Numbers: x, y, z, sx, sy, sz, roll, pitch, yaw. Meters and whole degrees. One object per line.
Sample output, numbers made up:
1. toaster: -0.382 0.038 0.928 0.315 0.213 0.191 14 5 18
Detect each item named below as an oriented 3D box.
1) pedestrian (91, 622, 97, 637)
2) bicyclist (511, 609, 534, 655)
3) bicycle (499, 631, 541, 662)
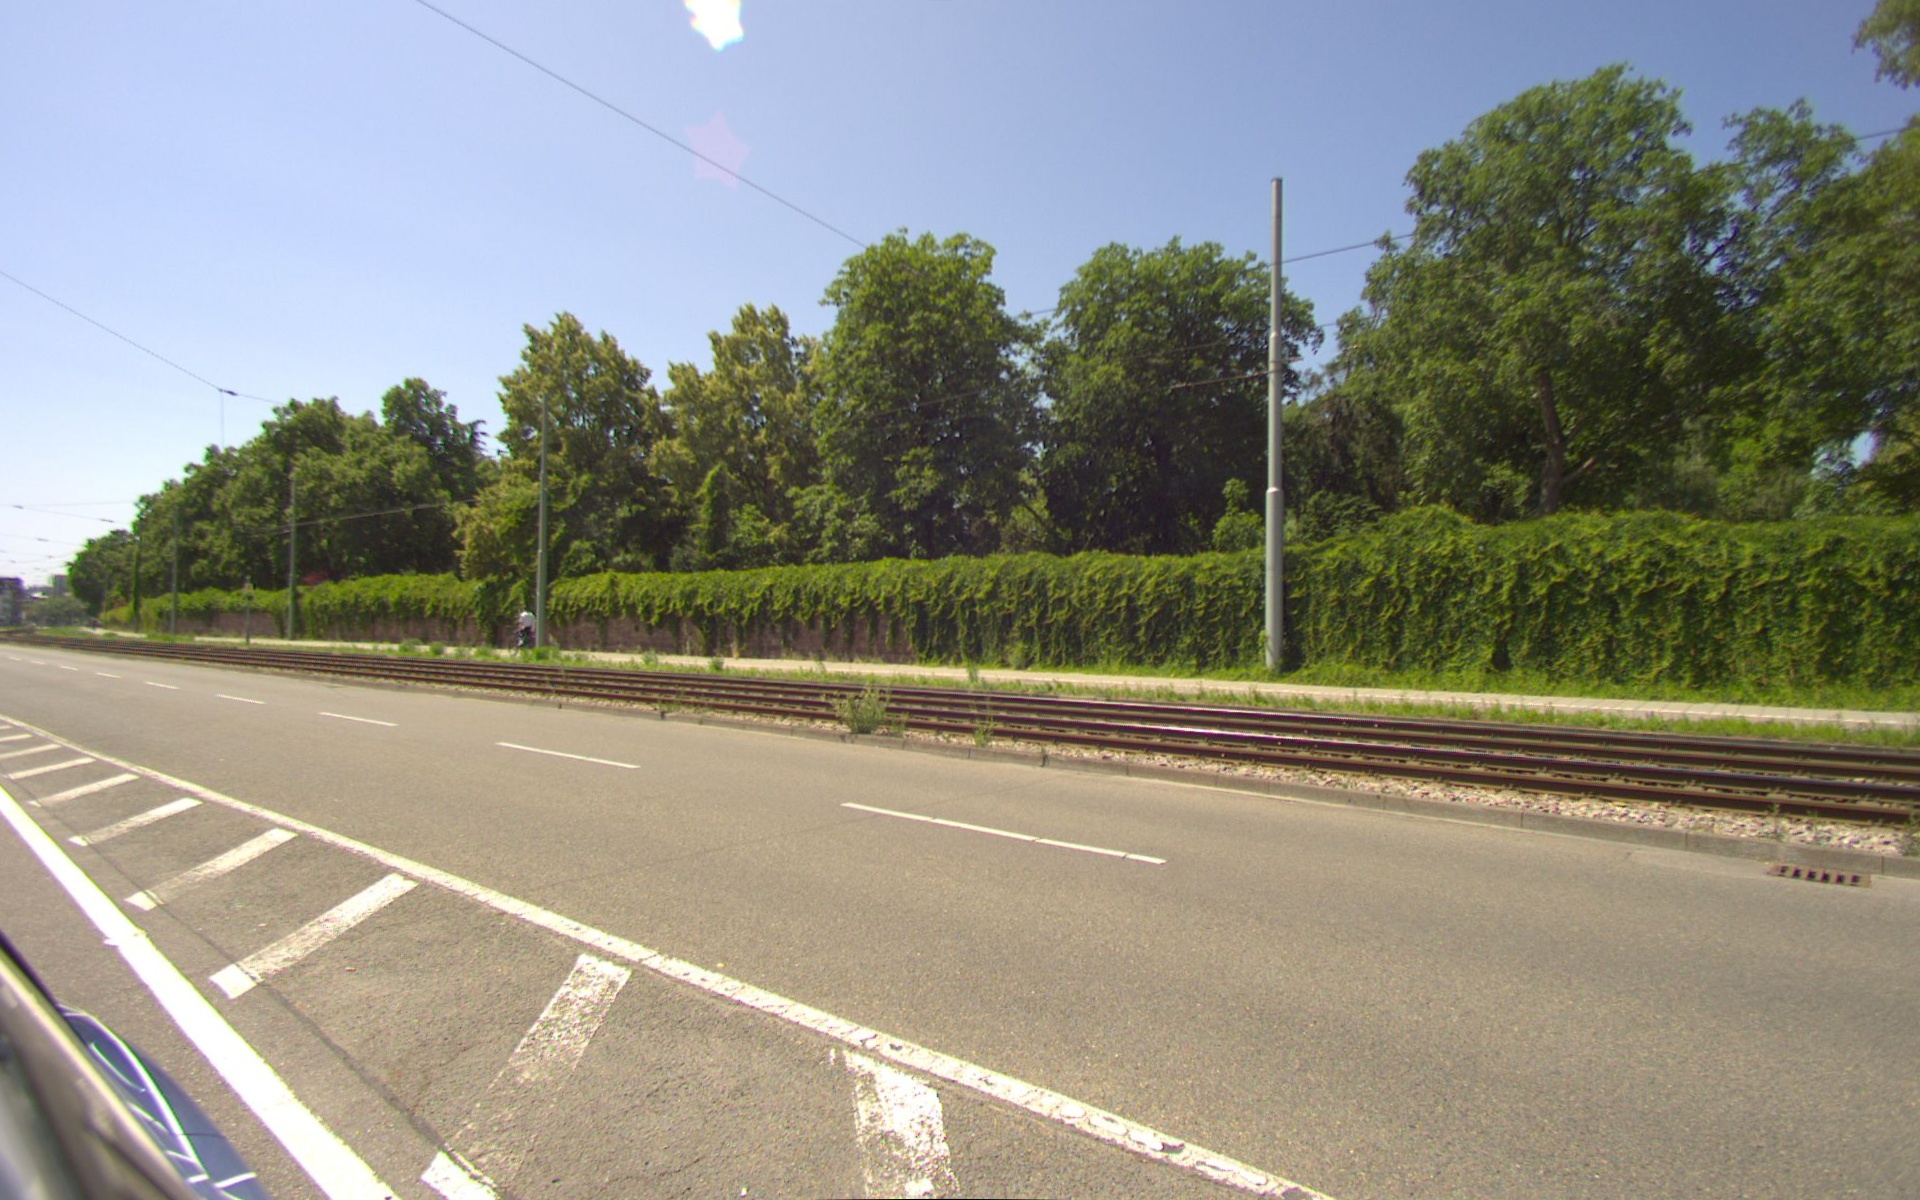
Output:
1. pedestrian: -103.945 3.537 121.489 0.302 1.677 0.447 -2 -1 41
2. bicyclist: -15.854 1.143 36.642 0.768 1.624 0.477 -1 0 41
3. bicycle: -16.012 1.666 36.776 1.977 1.063 0.610 -1 0 41
